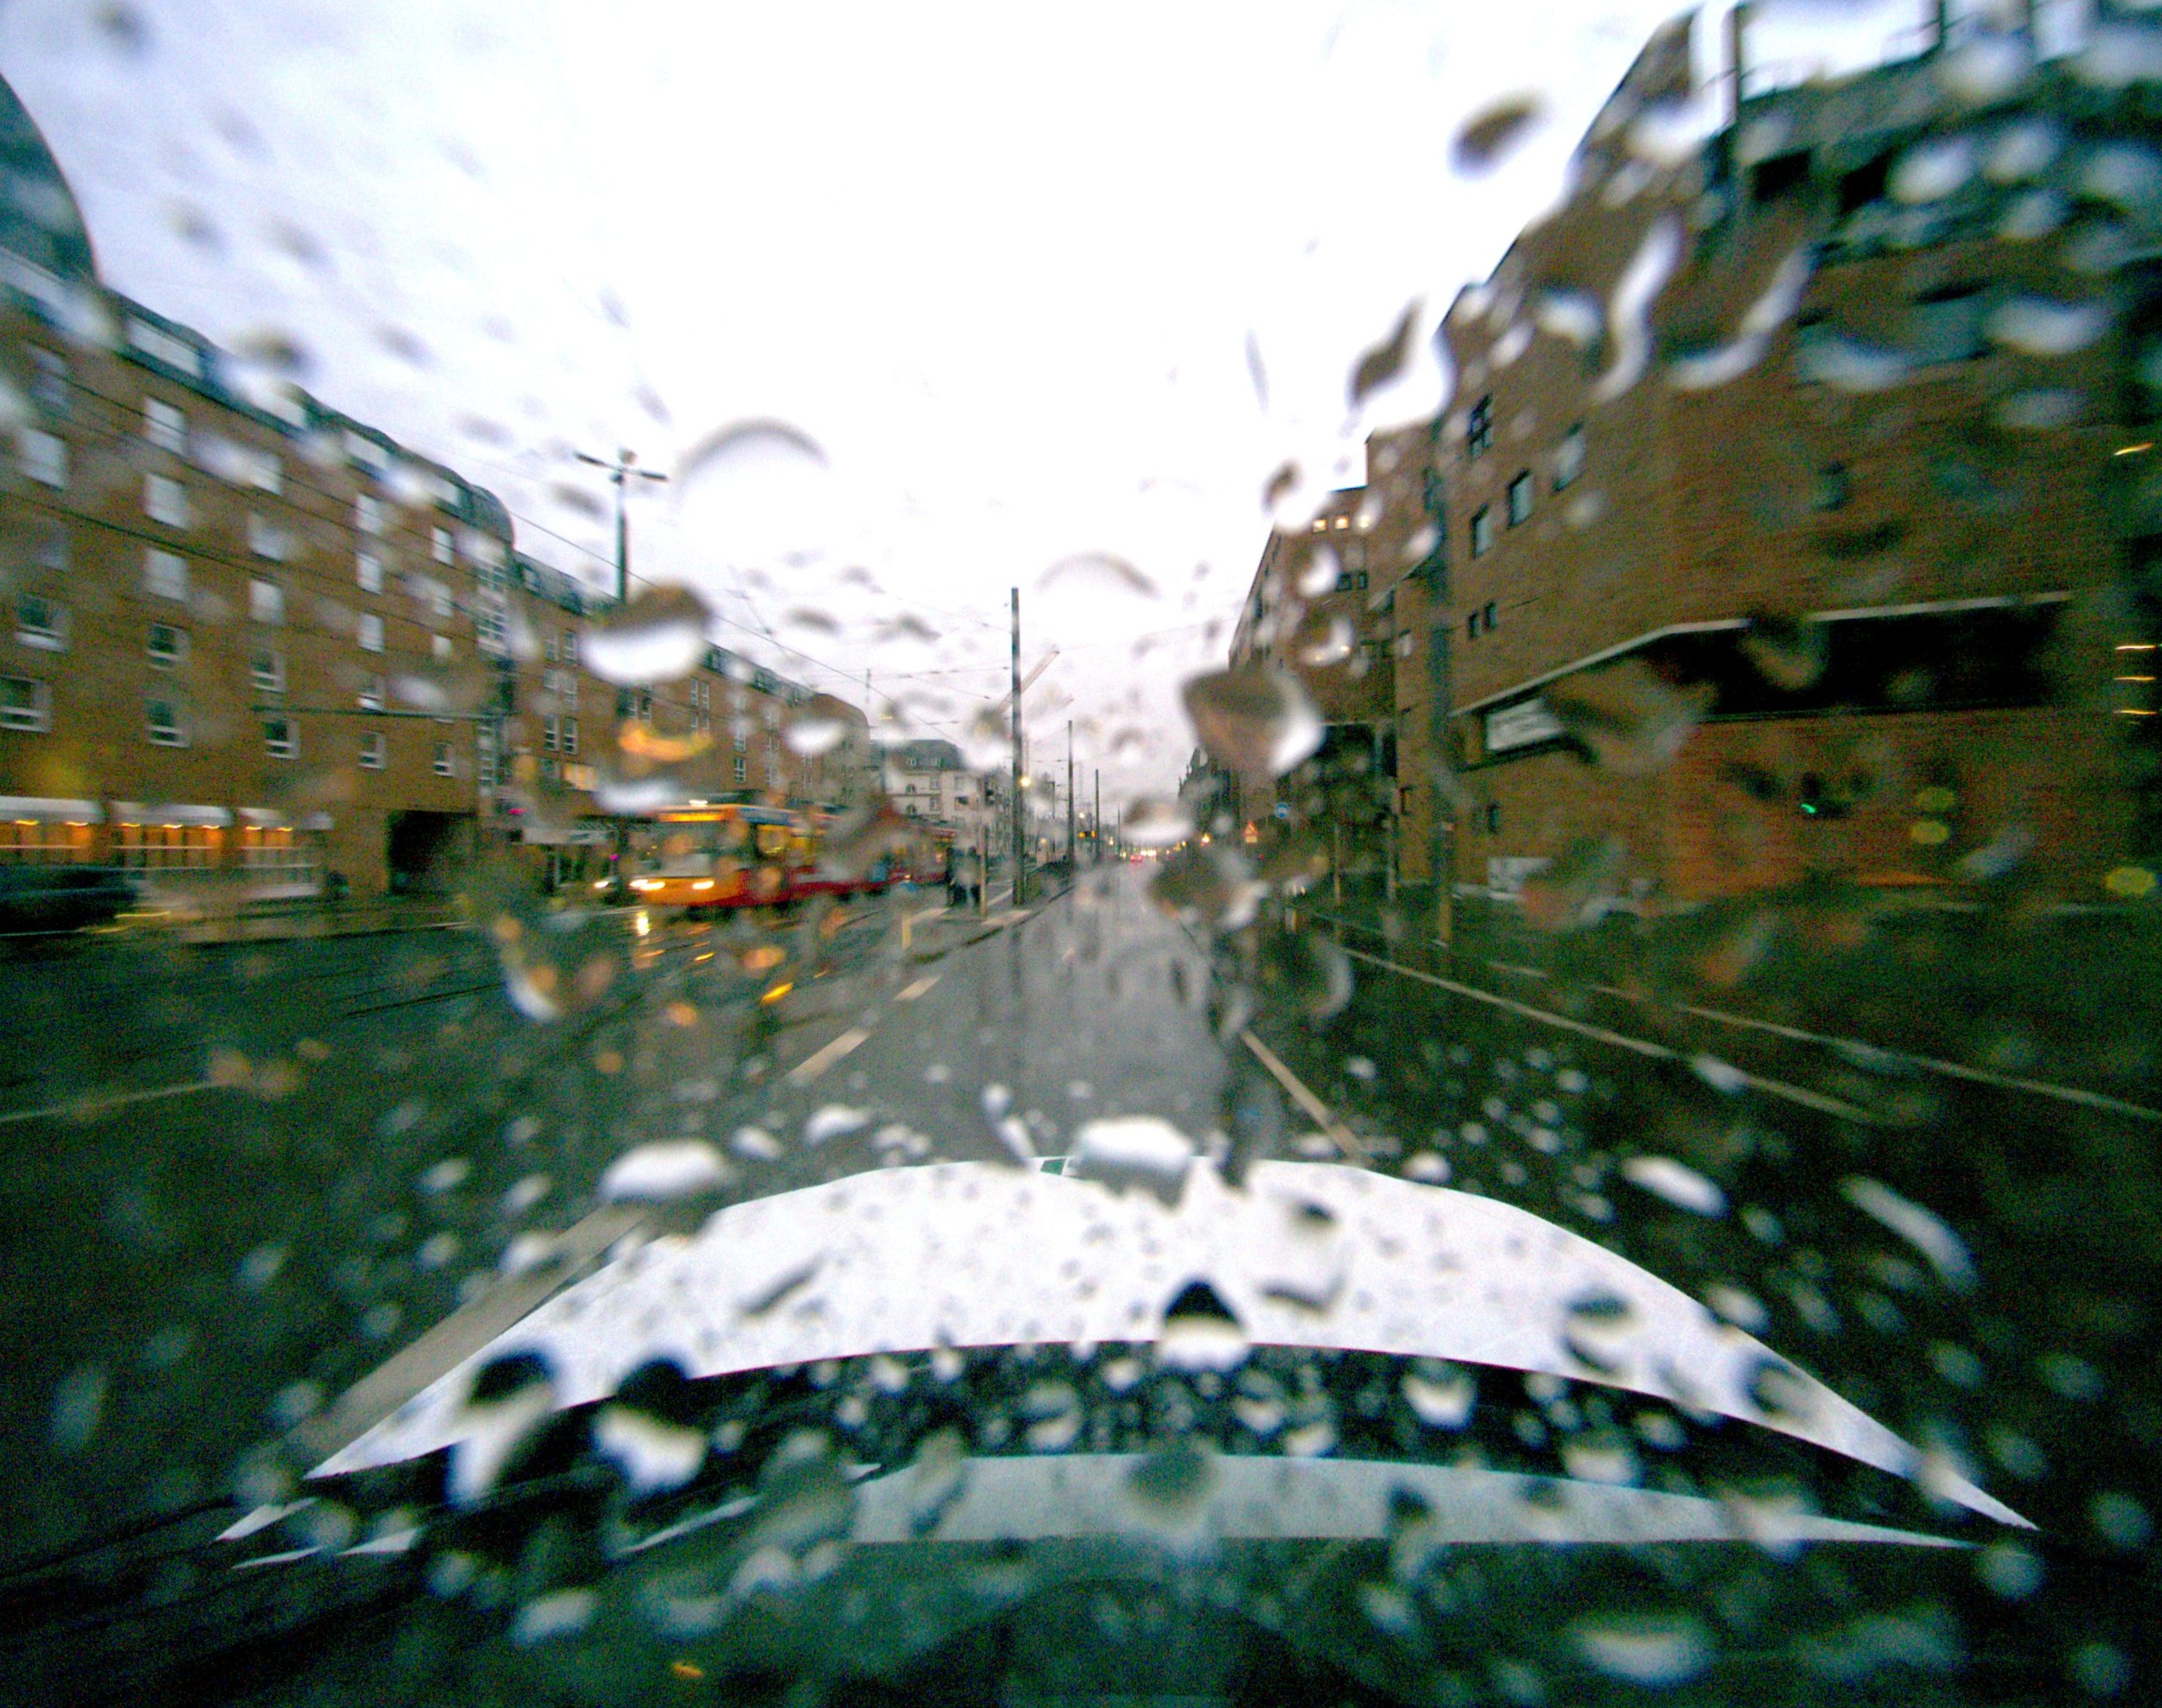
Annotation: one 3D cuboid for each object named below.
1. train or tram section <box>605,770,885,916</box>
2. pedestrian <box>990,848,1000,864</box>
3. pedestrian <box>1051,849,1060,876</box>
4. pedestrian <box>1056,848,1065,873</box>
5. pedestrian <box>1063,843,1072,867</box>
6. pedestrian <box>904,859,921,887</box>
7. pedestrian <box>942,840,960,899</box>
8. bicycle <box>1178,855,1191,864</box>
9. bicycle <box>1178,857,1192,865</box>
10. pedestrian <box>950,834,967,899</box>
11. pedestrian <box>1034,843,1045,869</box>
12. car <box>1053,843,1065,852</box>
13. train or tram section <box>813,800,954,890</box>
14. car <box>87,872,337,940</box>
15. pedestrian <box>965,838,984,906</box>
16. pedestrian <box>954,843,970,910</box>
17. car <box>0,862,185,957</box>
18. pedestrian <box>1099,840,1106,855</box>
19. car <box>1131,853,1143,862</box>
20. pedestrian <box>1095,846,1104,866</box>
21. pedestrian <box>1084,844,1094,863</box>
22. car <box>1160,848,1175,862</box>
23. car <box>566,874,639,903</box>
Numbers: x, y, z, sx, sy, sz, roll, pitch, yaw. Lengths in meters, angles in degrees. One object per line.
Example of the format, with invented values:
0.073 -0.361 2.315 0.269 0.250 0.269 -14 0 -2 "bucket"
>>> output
-9.830 -0.316 26.324 2.936 3.589 12.273 1 0 5 "train or tram section"
-8.345 0.233 78.705 0.639 1.524 0.748 1 0 -37 "pedestrian"
-1.508 0.513 48.580 0.479 1.590 0.563 0 0 2 "pedestrian"
-1.396 0.426 55.729 0.537 1.692 0.644 0 0 2 "pedestrian"
-0.894 0.072 53.507 0.537 1.590 0.563 0 0 2 "pedestrian"
-7.283 0.810 35.113 0.577 1.152 0.491 1 0 6 "pedestrian"
-3.845 0.444 24.134 0.432 1.735 0.473 0 0 -1 "pedestrian"
13.688 0.740 107.522 1.722 1.055 0.371 -2 0 3 "bicycle"
13.663 0.930 107.033 1.722 1.055 0.371 -2 0 3 "bicycle"
-3.703 0.371 24.630 0.432 1.967 0.473 0 0 -1 "pedestrian"
-2.537 0.137 49.889 0.615 1.590 0.622 0 0 2 "pedestrian"
-3.737 -1.098 136.360 1.674 1.354 3.550 0 0 4 "car"
-8.765 -0.406 38.009 2.911 3.578 11.051 1 0 5 "train or tram section"
-23.489 1.337 22.328 1.820 1.556 4.452 -1 0 6 "car"
-2.936 0.500 22.476 0.410 1.845 0.669 0 0 0 "pedestrian"
-3.212 0.601 21.958 0.358 1.786 0.440 0 0 0 "pedestrian"
-20.748 1.047 15.563 1.820 1.709 4.711 -1 0 4 "car"
2.221 -0.681 84.669 0.679 1.516 0.617 0 0 -8 "pedestrian"
9.362 0.593 136.337 1.775 1.467 3.154 -1 0 6 "car"
1.842 0.204 79.325 0.806 1.947 0.806 -1 0 5 "pedestrian"
0.698 -0.040 72.296 0.777 1.704 0.770 0 0 -14 "pedestrian"
12.701 0.115 119.423 1.983 2.013 4.008 -1 0 6 "car"
-28.127 2.012 48.056 1.605 1.491 4.232 -1 0 3 "car"
